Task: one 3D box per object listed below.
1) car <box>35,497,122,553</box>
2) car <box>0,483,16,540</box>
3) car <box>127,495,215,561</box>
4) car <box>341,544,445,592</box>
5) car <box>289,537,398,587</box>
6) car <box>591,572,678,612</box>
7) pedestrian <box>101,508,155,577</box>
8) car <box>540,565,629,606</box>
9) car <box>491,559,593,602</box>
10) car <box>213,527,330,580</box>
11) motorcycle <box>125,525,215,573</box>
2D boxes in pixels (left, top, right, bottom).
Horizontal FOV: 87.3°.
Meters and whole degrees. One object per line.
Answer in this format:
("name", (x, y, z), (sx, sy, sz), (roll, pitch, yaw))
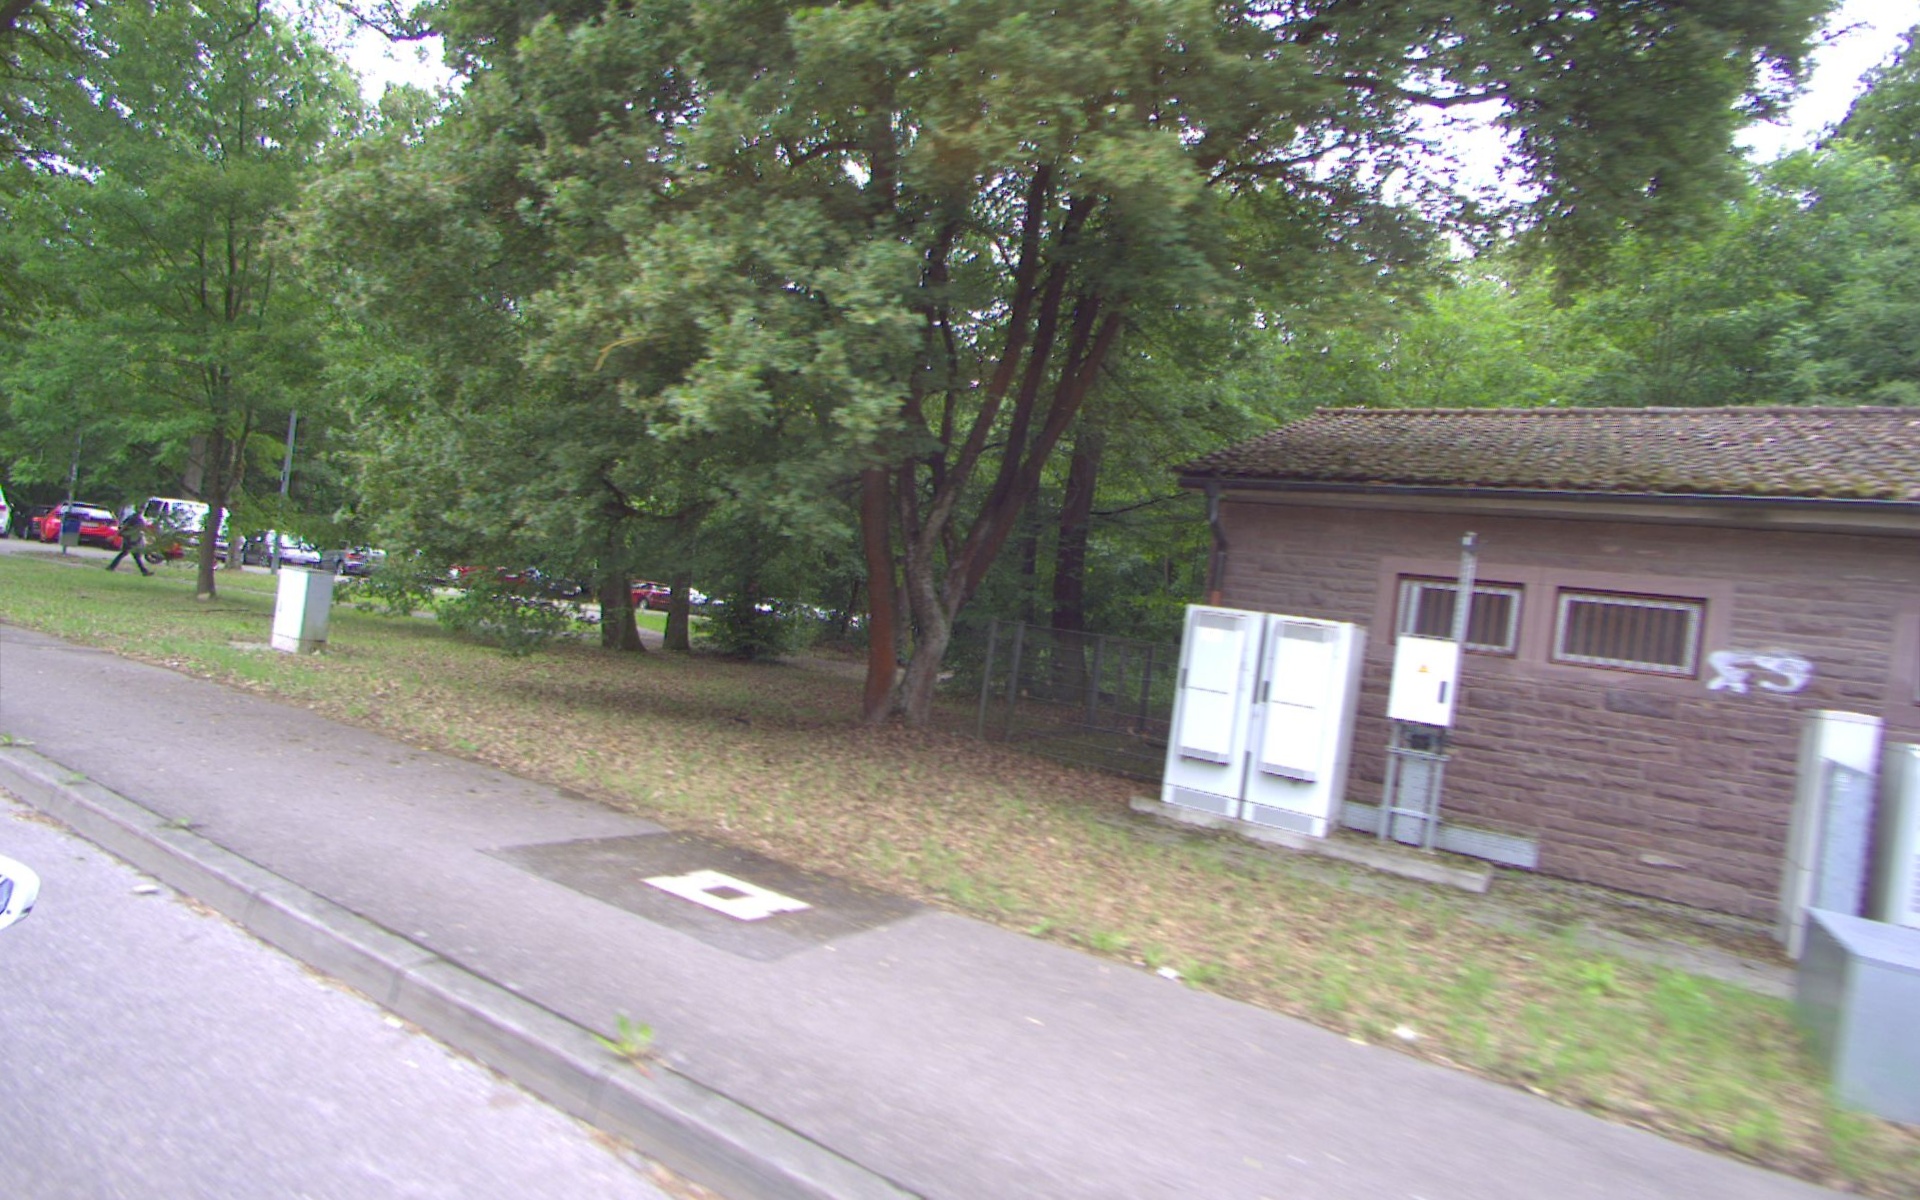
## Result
("car", (-26.993, -2.316, 30.790), (1.828, 1.342, 3.952), (8, -1, -42))
("car", (-28.549, -2.699, 28.943), (1.828, 1.555, 3.952), (7, -1, -42))
("car", (-25.706, -2.350, 32.717), (1.828, 1.783, 3.952), (7, 0, -42))
("car", (-21.771, -1.245, 38.626), (3.759, 1.342, 1.560), (7, 0, 27))
("car", (-22.463, -1.379, 36.618), (3.759, 1.342, 1.560), (7, 0, 27))
("car", (-15.169, -0.379, 46.865), (3.759, 1.342, 1.560), (7, 0, 27))
("pedestrian", (-19.837, -1.372, 23.987), (0.838, 1.524, 0.780), (7, 0, -44))
("car", (-17.016, -0.658, 45.532), (3.759, 1.342, 1.560), (7, 0, 27))
("car", (-17.704, -0.814, 42.757), (1.533, 1.342, 3.823), (7, -1, 27))
("car", (-23.818, -1.614, 34.800), (3.930, 1.342, 1.560), (7, 0, 27))
("motorcycle", (-22.103, -1.423, 28.169), (0.606, 1.070, 1.825), (7, -1, 41))
